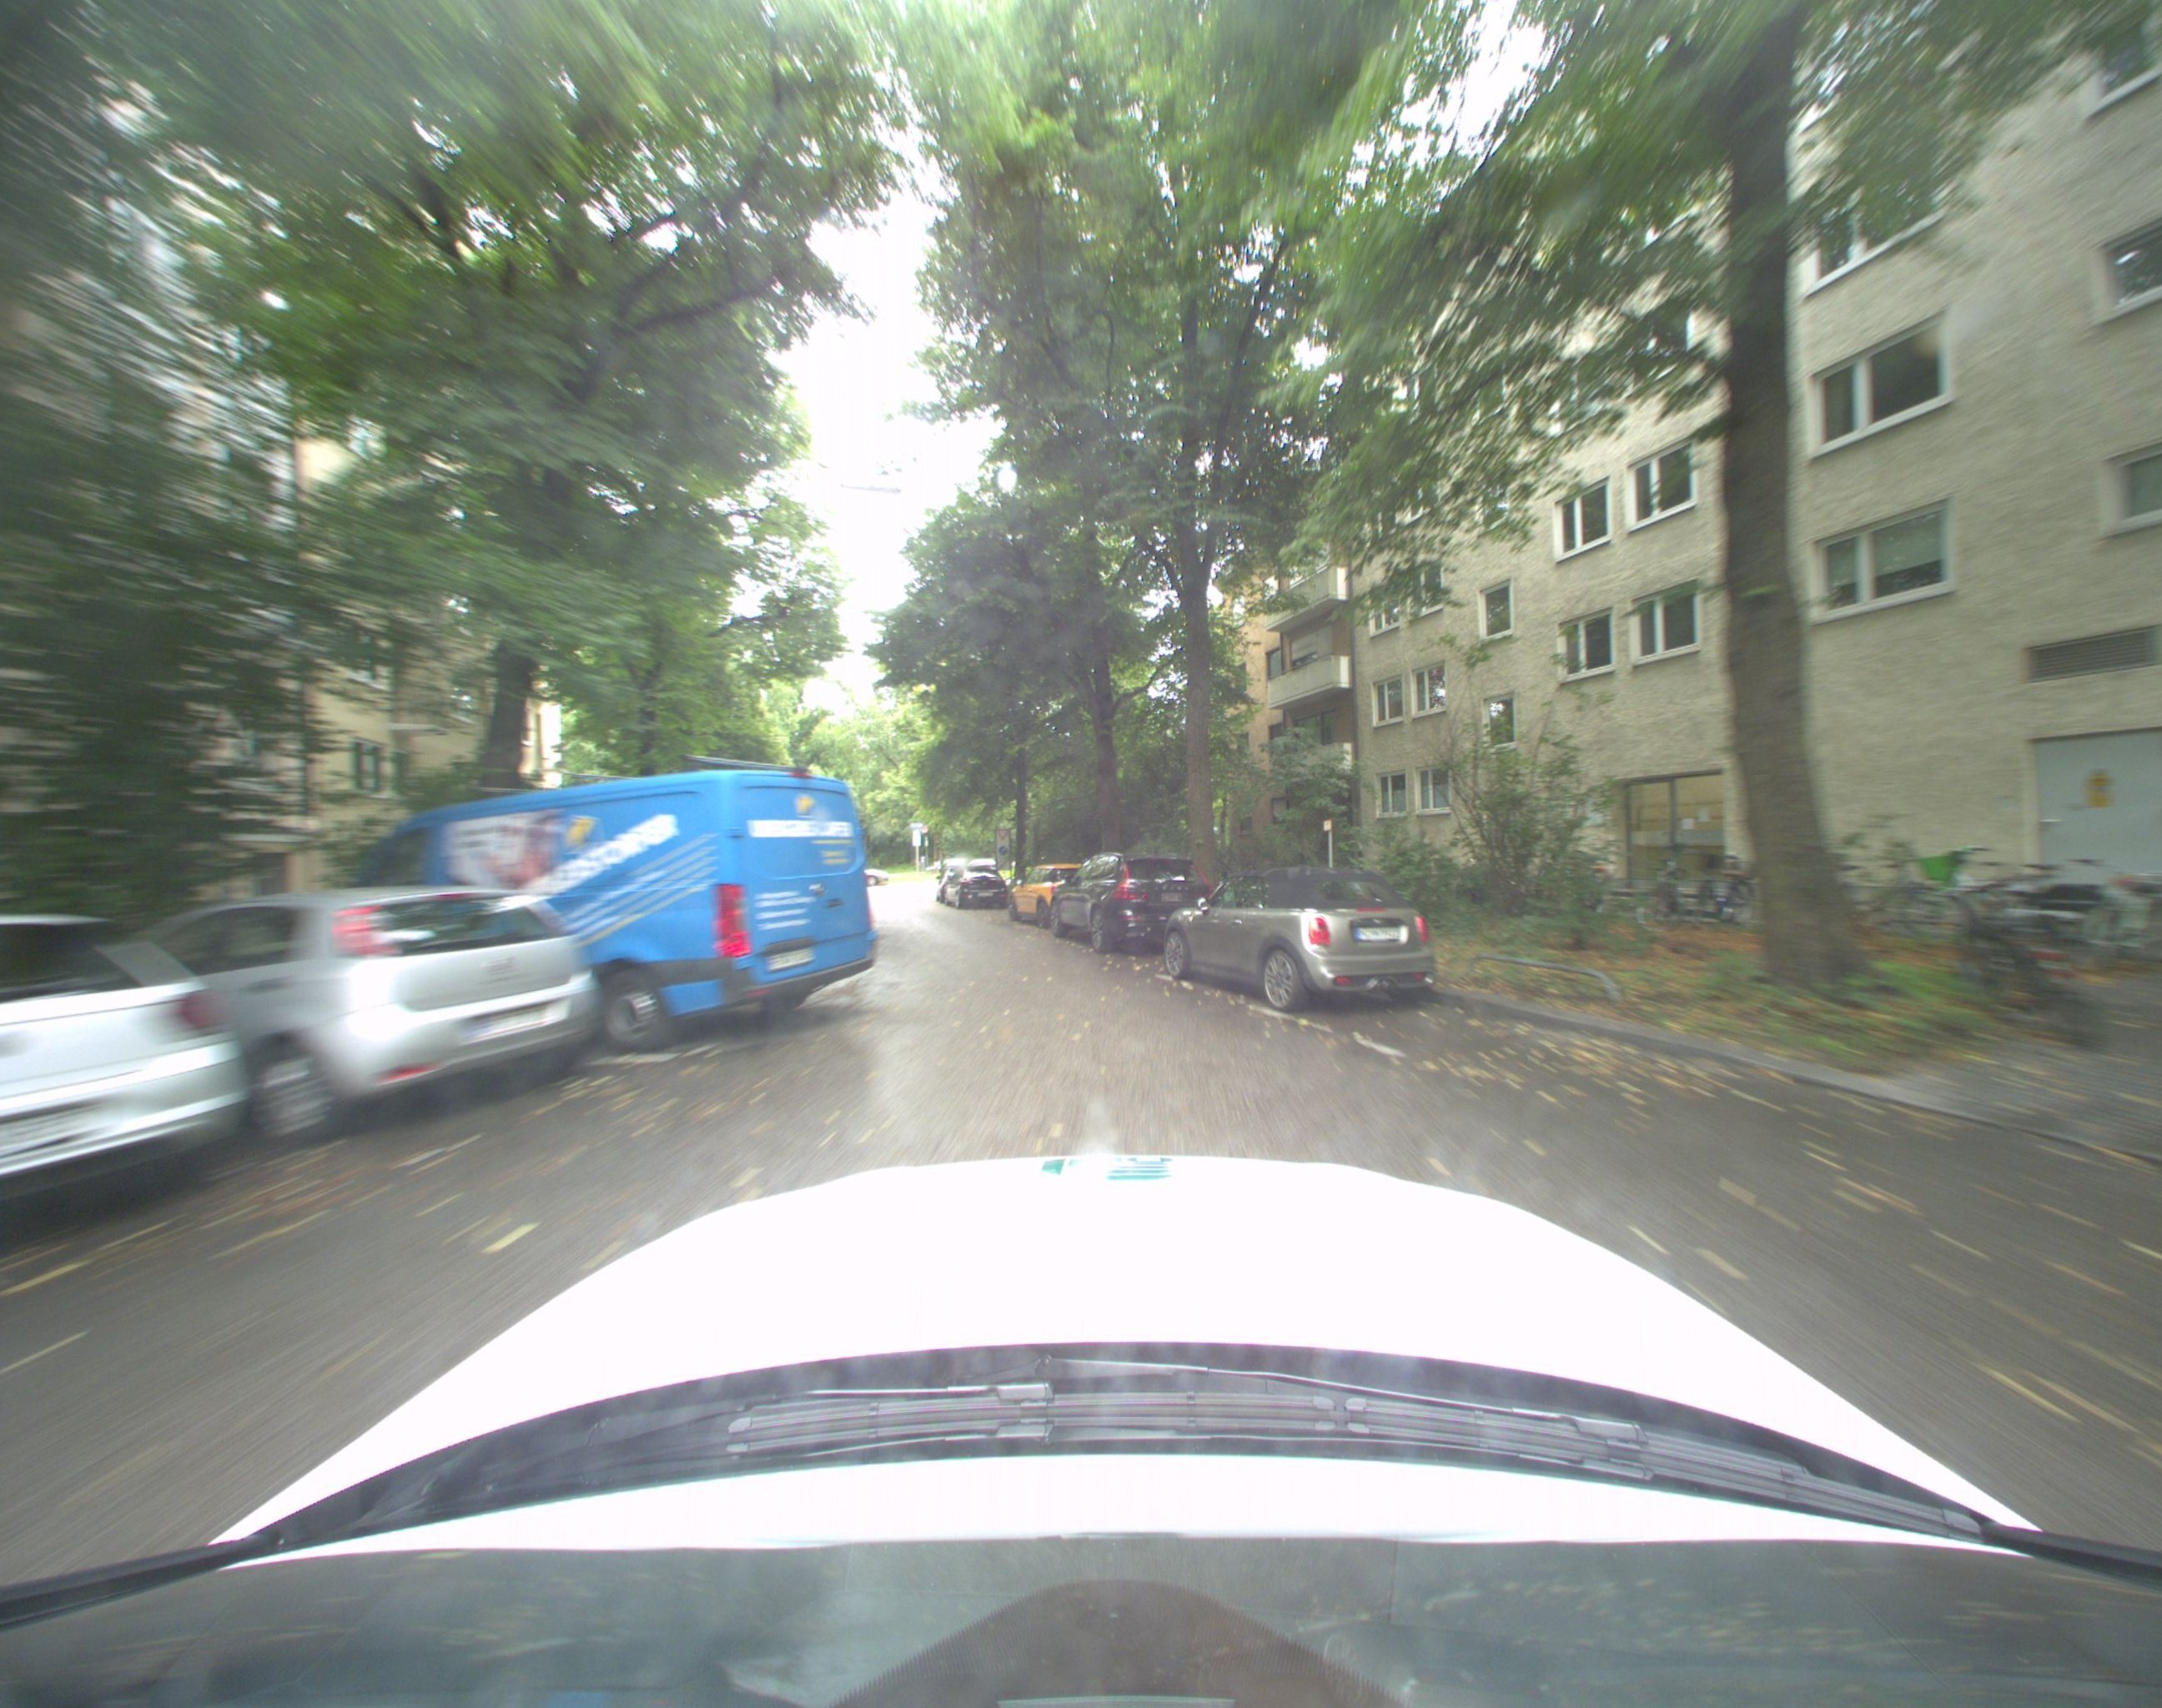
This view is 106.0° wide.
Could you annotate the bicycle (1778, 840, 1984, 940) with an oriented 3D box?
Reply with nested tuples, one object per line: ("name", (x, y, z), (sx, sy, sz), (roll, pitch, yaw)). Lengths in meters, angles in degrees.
("bicycle", (9.841, 0.416, 10.101), (0.446, 1.124, 1.755), (-1, 0, -27))

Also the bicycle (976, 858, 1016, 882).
("bicycle", (-3.835, 0.723, 36.742), (1.751, 0.982, 0.272), (-2, 0, -8))

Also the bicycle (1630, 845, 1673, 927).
("bicycle", (8.529, 0.437, 12.149), (0.440, 1.124, 1.783), (-2, 0, 37))

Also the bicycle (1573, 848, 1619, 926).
("bicycle", (8.137, 0.483, 12.848), (0.440, 1.124, 1.783), (-2, 0, 37))

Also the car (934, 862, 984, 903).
("car", (-4.982, 1.106, 32.913), (1.650, 1.474, 3.625), (-1, 0, -14))

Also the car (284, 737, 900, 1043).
("car", (-4.817, 0.455, 8.094), (5.433, 2.354, 2.075), (-4, -1, 18))

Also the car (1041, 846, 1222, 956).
("car", (0.705, 0.718, 14.770), (1.836, 1.629, 4.500), (-1, 0, -16))

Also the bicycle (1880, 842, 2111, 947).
("bicycle", (10.750, 0.443, 9.658), (0.446, 1.124, 1.755), (-1, 0, -27))

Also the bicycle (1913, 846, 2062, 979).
("bicycle", (8.643, 0.503, 7.746), (1.882, 1.124, 0.535), (-1, 0, -29))

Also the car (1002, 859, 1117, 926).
("car", (-0.624, 0.844, 19.587), (1.624, 1.412, 3.754), (-1, 0, -21))

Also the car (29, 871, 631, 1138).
("car", (-5.330, 0.948, 5.863), (3.513, 1.432, 1.652), (-3, -1, 19))

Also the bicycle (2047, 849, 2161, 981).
("bicycle", (9.969, 0.532, 7.817), (1.882, 1.124, 0.535), (-1, 0, -29))

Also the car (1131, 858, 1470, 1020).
("car", (2.311, 0.826, 9.978), (1.904, 1.413, 4.403), (-3, 0, -17))

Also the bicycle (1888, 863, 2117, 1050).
("bicycle", (6.969, 0.688, 6.283), (0.757, 1.164, 1.882), (-2, 0, 36))

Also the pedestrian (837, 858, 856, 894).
("pedestrian", (-11.164, 1.035, 38.765), (0.780, 1.617, 0.757), (-1, 2, -15))

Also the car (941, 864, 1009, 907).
("car", (-3.823, 1.056, 28.842), (1.686, 1.358, 3.985), (-1, 0, -17))

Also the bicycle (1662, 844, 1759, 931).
("bicycle", (8.919, 0.443, 11.511), (1.955, 1.124, 0.441), (-1, 0, -33))

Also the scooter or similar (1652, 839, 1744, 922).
("scooter or similar", (9.753, 0.402, 12.916), (0.384, 1.252, 1.130), (-1, 0, -17))

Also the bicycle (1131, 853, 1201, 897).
("bicycle", (2.316, 0.558, 22.103), (1.839, 1.083, 0.543), (-2, 0, -25))

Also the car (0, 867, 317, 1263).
("car", (-6.241, 1.032, 3.895), (4.238, 1.513, 1.812), (-6, -1, 17))

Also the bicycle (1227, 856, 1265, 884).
("bicycle", (6.443, 0.628, 31.881), (0.555, 1.044, 1.825), (-2, 0, -19))

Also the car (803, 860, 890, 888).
("car", (-13.914, 1.152, 48.533), (4.805, 1.495, 1.835), (-1, 0, -12))
